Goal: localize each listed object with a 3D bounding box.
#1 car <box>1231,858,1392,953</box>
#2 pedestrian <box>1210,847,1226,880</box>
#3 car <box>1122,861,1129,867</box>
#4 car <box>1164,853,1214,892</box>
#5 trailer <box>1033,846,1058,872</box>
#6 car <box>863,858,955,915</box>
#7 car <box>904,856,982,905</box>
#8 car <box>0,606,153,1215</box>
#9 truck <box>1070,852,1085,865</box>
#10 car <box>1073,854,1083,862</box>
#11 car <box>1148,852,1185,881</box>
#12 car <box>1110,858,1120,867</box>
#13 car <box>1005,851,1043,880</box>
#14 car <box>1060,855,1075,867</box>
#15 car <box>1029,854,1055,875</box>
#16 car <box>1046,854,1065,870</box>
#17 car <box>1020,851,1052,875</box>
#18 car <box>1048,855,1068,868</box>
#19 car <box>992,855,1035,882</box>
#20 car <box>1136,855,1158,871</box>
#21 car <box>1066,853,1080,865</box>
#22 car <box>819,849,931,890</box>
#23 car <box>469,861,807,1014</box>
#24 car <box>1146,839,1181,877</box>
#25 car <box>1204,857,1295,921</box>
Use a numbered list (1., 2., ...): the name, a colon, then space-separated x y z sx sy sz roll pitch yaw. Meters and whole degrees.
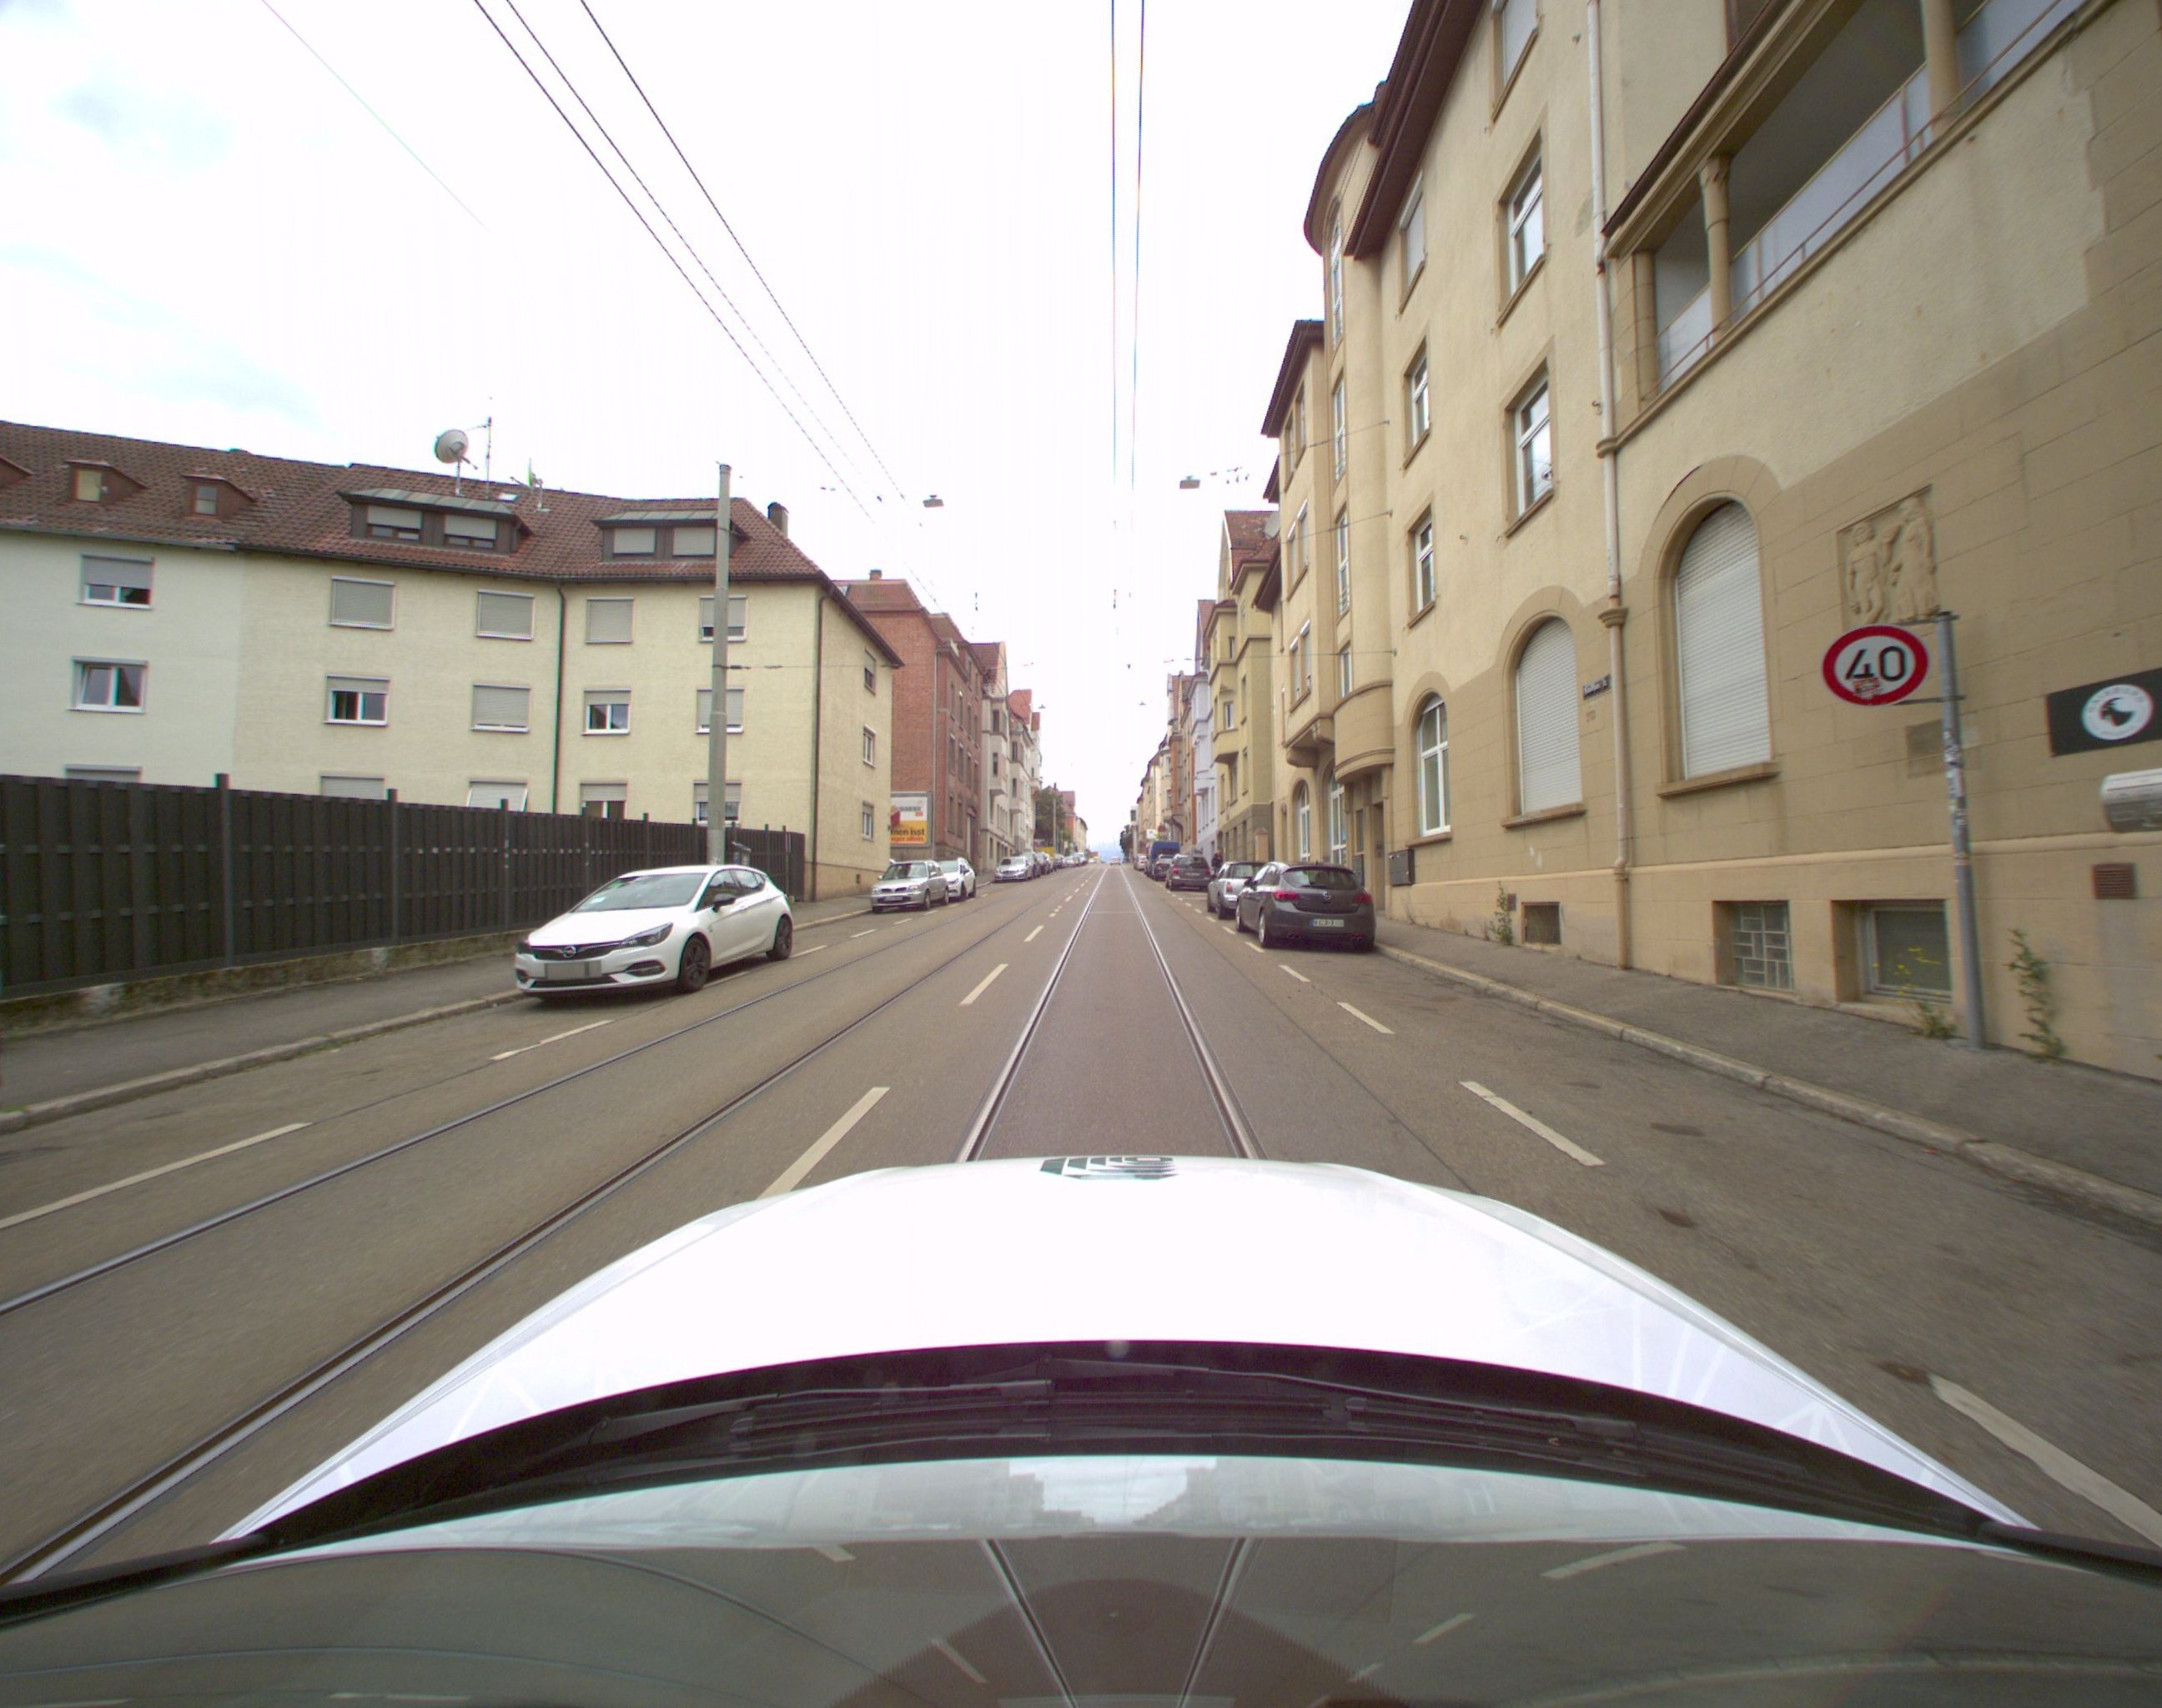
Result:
1. car: 3.925 0.818 14.583 1.832 1.403 4.169 2 -1 2
2. pedestrian: 7.053 0.492 41.829 0.540 1.682 0.515 -4 -3 -6
3. car: 12.748 2.812 233.243 1.985 1.563 4.293 0 0 3
4. car: 4.679 0.772 35.729 1.820 1.519 4.031 2 0 3
5. trailer: -3.092 0.422 71.628 1.741 2.155 4.074 -2 0 3
6. car: -4.911 0.886 23.770 1.594 1.368 3.810 -4 0 3
7. car: -4.716 0.858 28.415 1.822 1.429 4.627 -4 0 0
8. car: -5.744 0.287 0.890 2.151 2.606 6.219 -3 0 1
9. truck: -0.574 0.824 147.401 2.270 2.188 8.032 0 0 3
10. car: -0.499 0.696 140.609 1.691 1.433 4.482 -2 0 1
11. car: 5.006 0.730 48.015 1.773 1.530 4.193 3 0 1
12. car: 6.174 1.564 149.069 1.666 1.513 3.798 0 0 1
13. car: -3.635 0.705 53.099 1.820 1.718 4.917 -2 0 3
14. car: -1.848 0.923 111.069 1.689 1.556 3.854 0 0 4
15. car: -3.222 0.807 67.458 1.690 1.594 4.271 -2 0 3
16. car: -2.602 0.803 83.282 1.690 1.468 3.025 -2 -1 3
17. car: -3.357 0.634 61.304 1.866 1.664 4.895 -2 0 3
18. car: -2.466 0.830 88.344 1.772 1.357 4.295 0 0 4
19. car: -3.882 0.808 47.627 1.820 1.429 4.843 -2 0 3
20. car: 6.112 0.799 75.332 1.744 1.390 4.308 2 0 1
21. car: -1.177 0.704 122.473 1.736 1.736 4.524 -2 0 4
22. car: -10.409 0.760 41.412 5.160 1.818 1.939 -2 0 -2
23. car: -5.181 0.858 10.337 1.712 1.403 4.316 -3 0 2
24. car: 5.377 0.290 53.426 1.986 2.376 5.058 0 -1 2
25. car: 4.177 0.823 20.683 1.688 1.404 3.670 2 0 3
